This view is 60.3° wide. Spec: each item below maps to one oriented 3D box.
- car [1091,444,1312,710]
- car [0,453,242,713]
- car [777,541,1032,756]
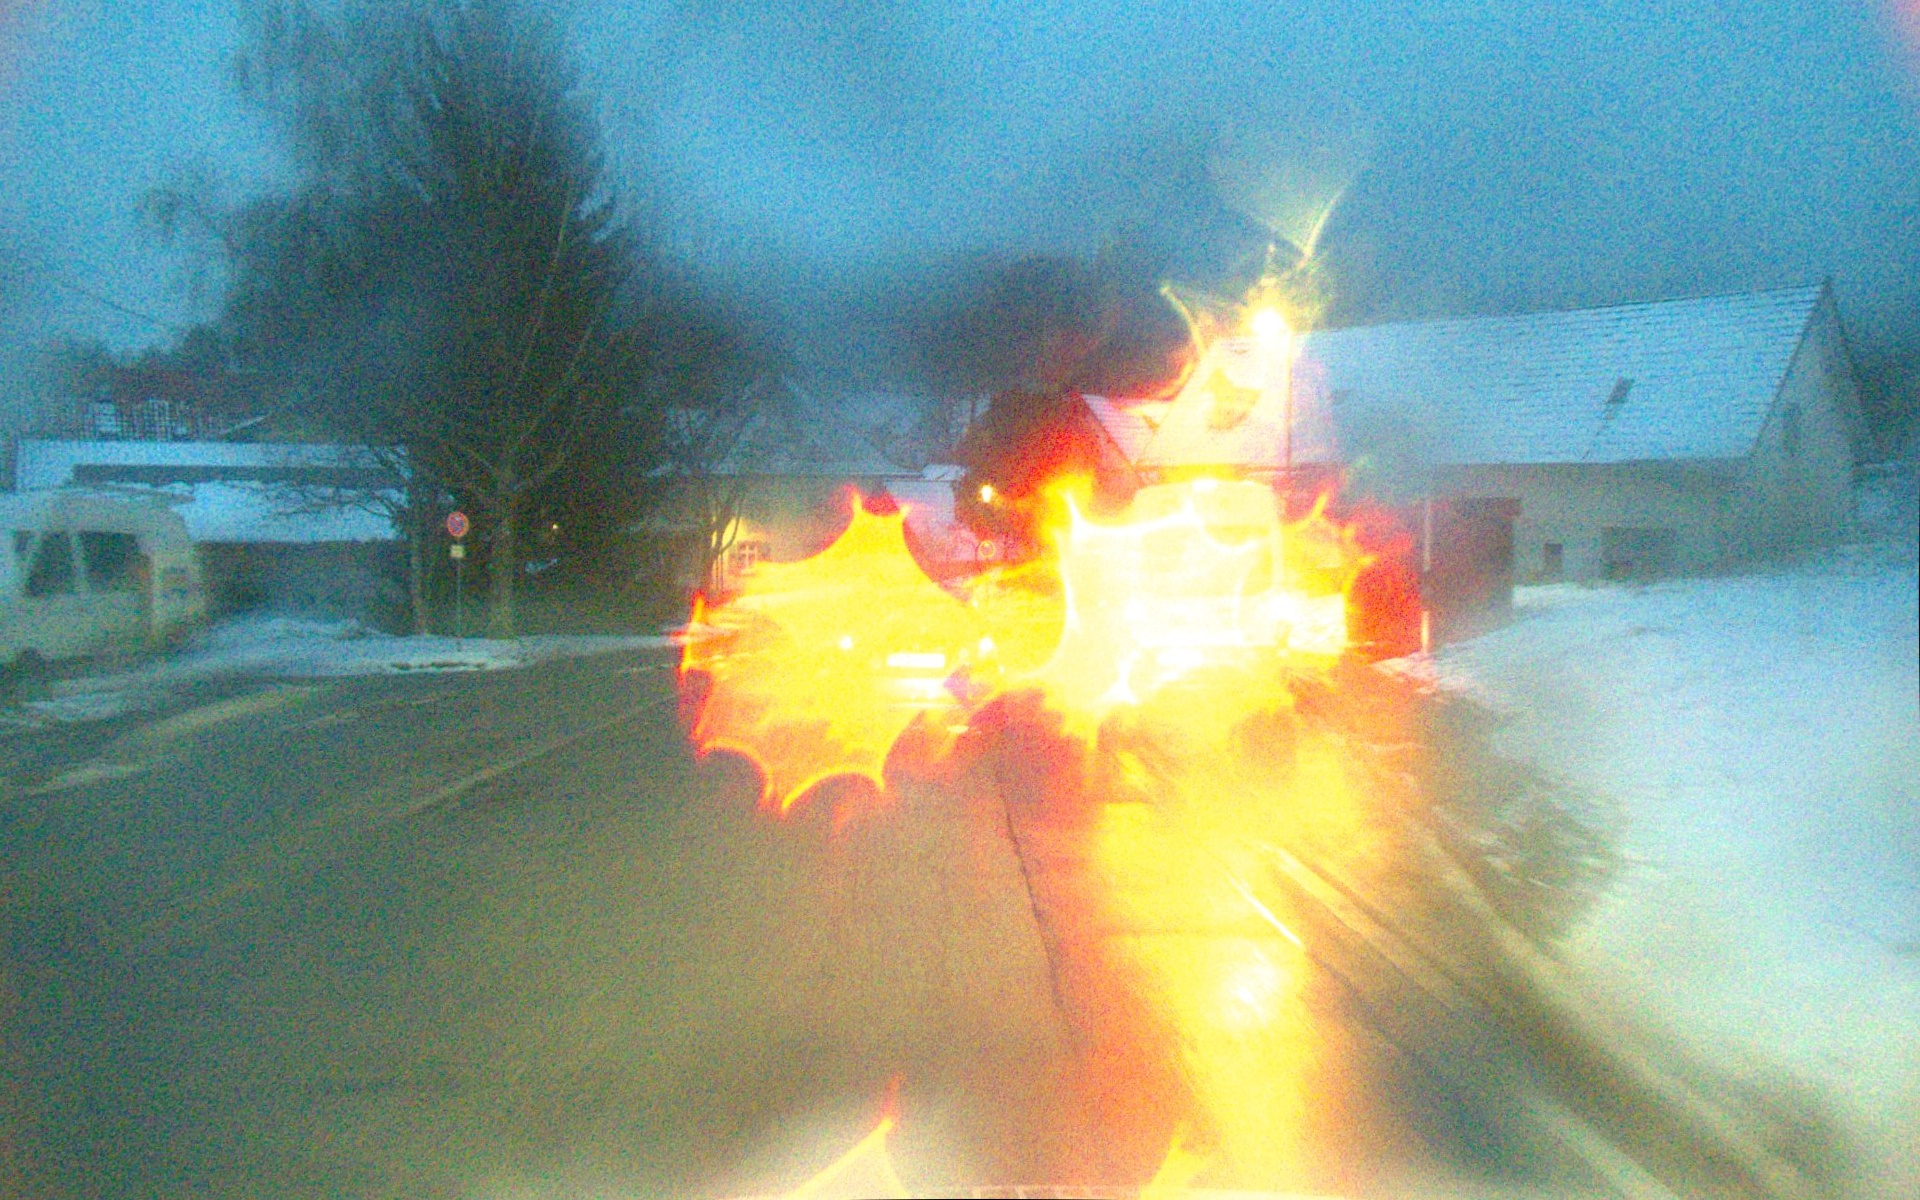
[{"bbox_3d":[3.011,-0.318,21.878,2.384,3.071,5.328,0,1,3],"label":"car"},{"bbox_3d":[-10.935,-0.215,19.363,2.419,2.616,6.227,1,0,-1],"label":"car"},{"bbox_3d":[-0.541,0.418,17.120,2.228,1.873,5.005,1,0,-1],"label":"car"}]
